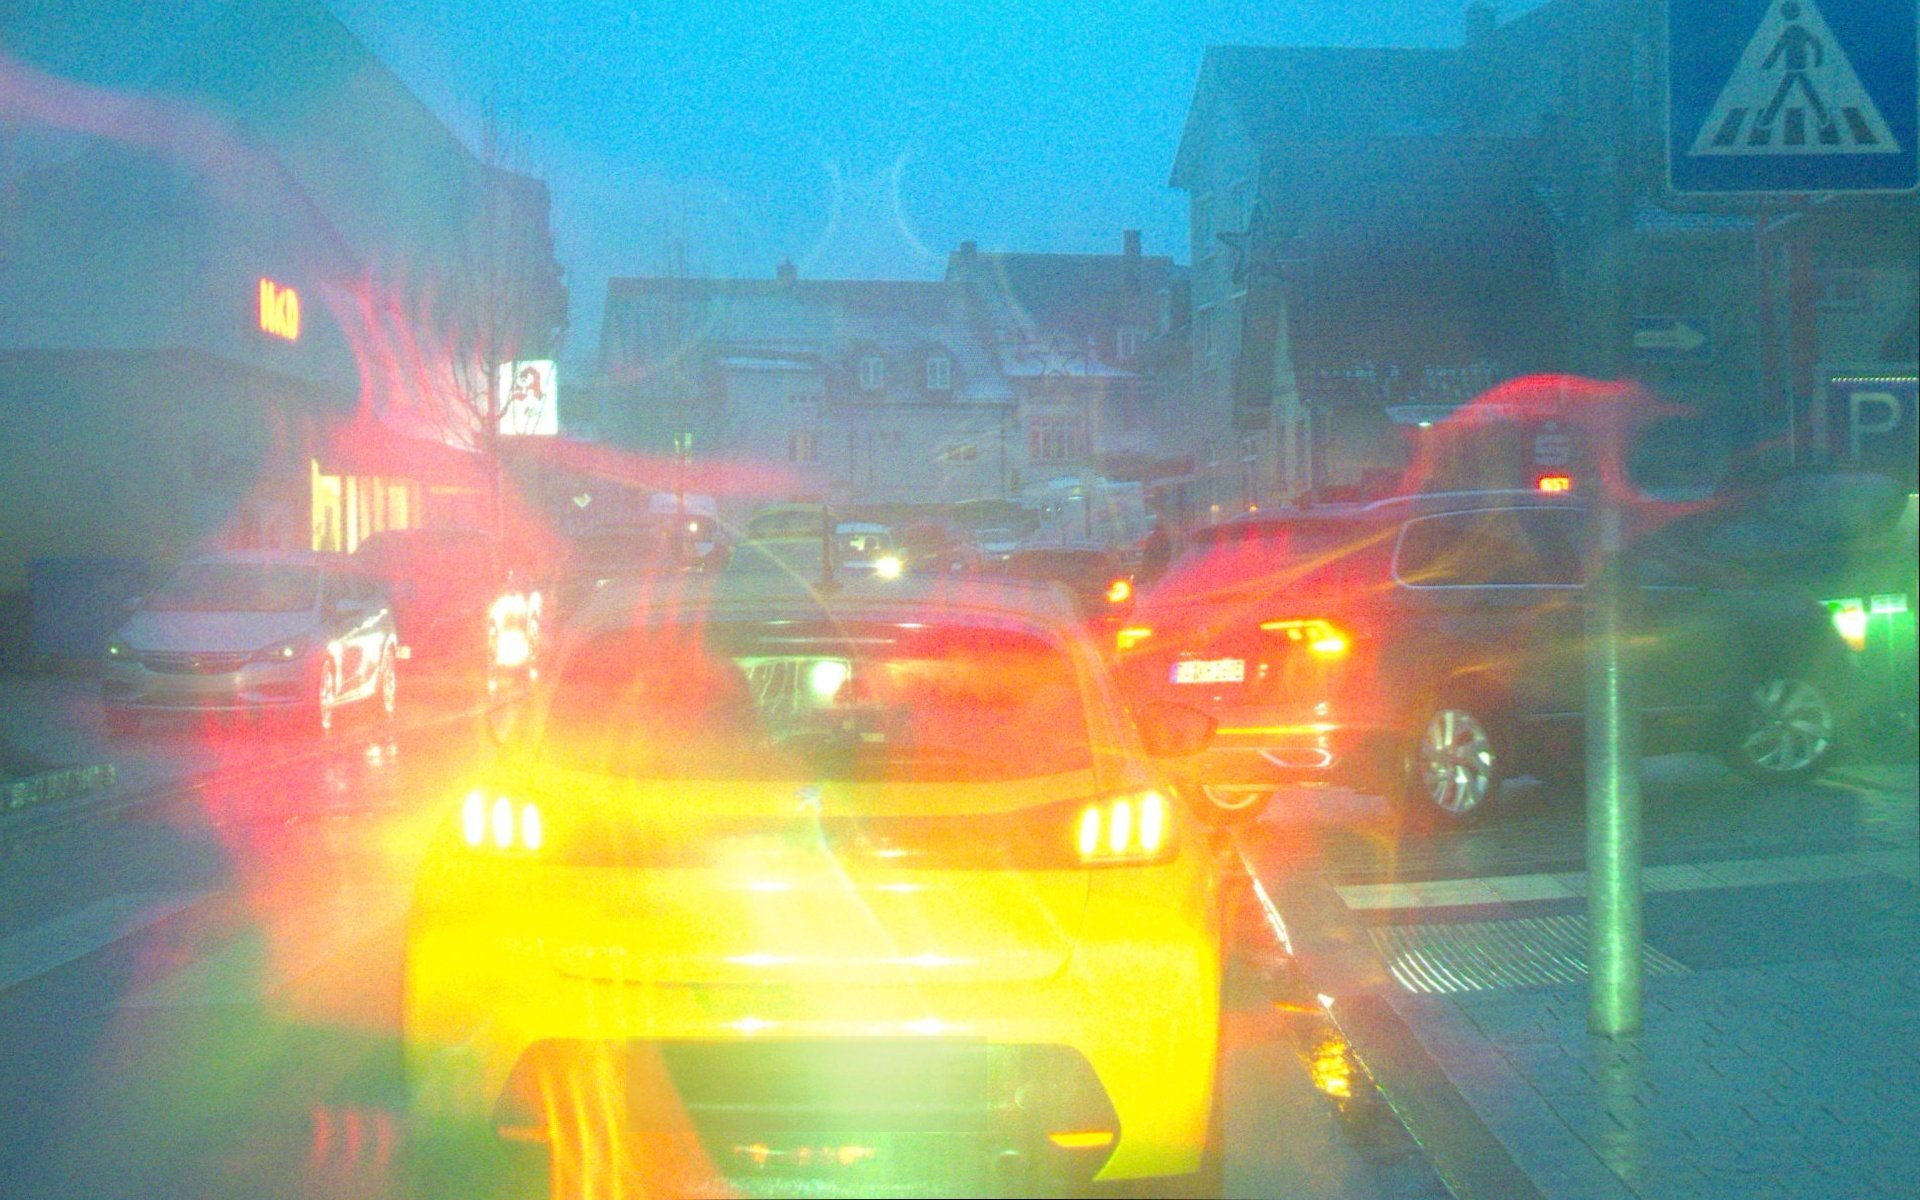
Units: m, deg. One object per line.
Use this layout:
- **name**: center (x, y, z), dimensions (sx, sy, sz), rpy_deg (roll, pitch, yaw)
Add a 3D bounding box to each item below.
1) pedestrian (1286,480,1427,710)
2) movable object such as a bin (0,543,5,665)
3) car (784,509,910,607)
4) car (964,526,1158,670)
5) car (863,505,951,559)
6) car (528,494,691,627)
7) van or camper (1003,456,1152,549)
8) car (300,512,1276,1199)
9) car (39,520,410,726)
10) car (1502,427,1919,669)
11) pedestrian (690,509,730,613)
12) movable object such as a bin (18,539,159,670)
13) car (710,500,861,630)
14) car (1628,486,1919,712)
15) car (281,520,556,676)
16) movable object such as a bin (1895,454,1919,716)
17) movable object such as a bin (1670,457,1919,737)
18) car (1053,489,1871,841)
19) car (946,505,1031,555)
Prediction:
- **pedestrian**: center (3.311, -0.048, 28.782), dimensions (0.966, 1.883, 1.006), rpy_deg (1, 1, -4)
- **movable object such as a bin**: center (-11.154, 0.047, 37.823), dimensions (1.149, 1.349, 0.852), rpy_deg (0, 1, -9)
- **car**: center (-2.277, -0.864, 68.293), dimensions (1.951, 1.541, 4.417), rpy_deg (4, 3, -8)
- **car**: center (1.130, -0.058, 40.523), dimensions (1.993, 1.583, 4.001), rpy_deg (1, 1, -2)
- **car**: center (-1.871, -2.401, 120.734), dimensions (1.993, 1.759, 4.352), rpy_deg (-2, 2, -15)
- **car**: center (-4.951, -0.609, 49.138), dimensions (2.085, 1.786, 5.025), rpy_deg (0, 2, -3)
- **van or camper**: center (4.112, -3.431, 121.725), dimensions (2.650, 3.037, 6.736), rpy_deg (-4, 3, -21)
- **car**: center (-0.254, 0.577, 8.436), dimensions (1.814, 1.528, 4.000), rpy_deg (1, 1, 2)
- **car**: center (-6.030, 0.129, 28.772), dimensions (1.993, 1.552, 4.621), rpy_deg (1, 1, 1)
- **car**: center (7.142, -0.486, 31.891), dimensions (4.092, 2.042, 1.999), rpy_deg (-2, 1, 10)
- **pedestrian**: center (-3.840, -0.598, 52.836), dimensions (0.574, 1.580, 0.530), rpy_deg (0, 2, -1)
- **movable object such as a bin**: center (-9.620, 0.041, 37.992), dimensions (1.340, 1.349, 0.889), rpy_deg (-3, 1, -8)
- **car**: center (-2.532, -0.565, 50.868), dimensions (1.993, 1.700, 4.968), rpy_deg (2, 2, -1)
- **car**: center (6.777, -0.032, 23.843), dimensions (3.987, 1.481, 1.912), rpy_deg (-1, 0, 4)
- **car**: center (-5.570, -0.068, 35.972), dimensions (1.993, 1.517, 4.978), rpy_deg (0, 1, 1)
- **movable object such as a bin**: center (6.643, -0.116, 21.306), dimensions (1.285, 1.638, 1.185), rpy_deg (-3, 1, -2)
- **movable object such as a bin**: center (5.280, -0.038, 21.367), dimensions (1.393, 1.638, 1.262), rpy_deg (-2, 1, -1)
- **car**: center (2.662, 0.276, 17.843), dimensions (3.988, 1.619, 1.998), rpy_deg (0, 1, -39)
- **car**: center (0.994, -2.446, 121.033), dimensions (1.993, 1.605, 4.175), rpy_deg (-2, 1, -13)
